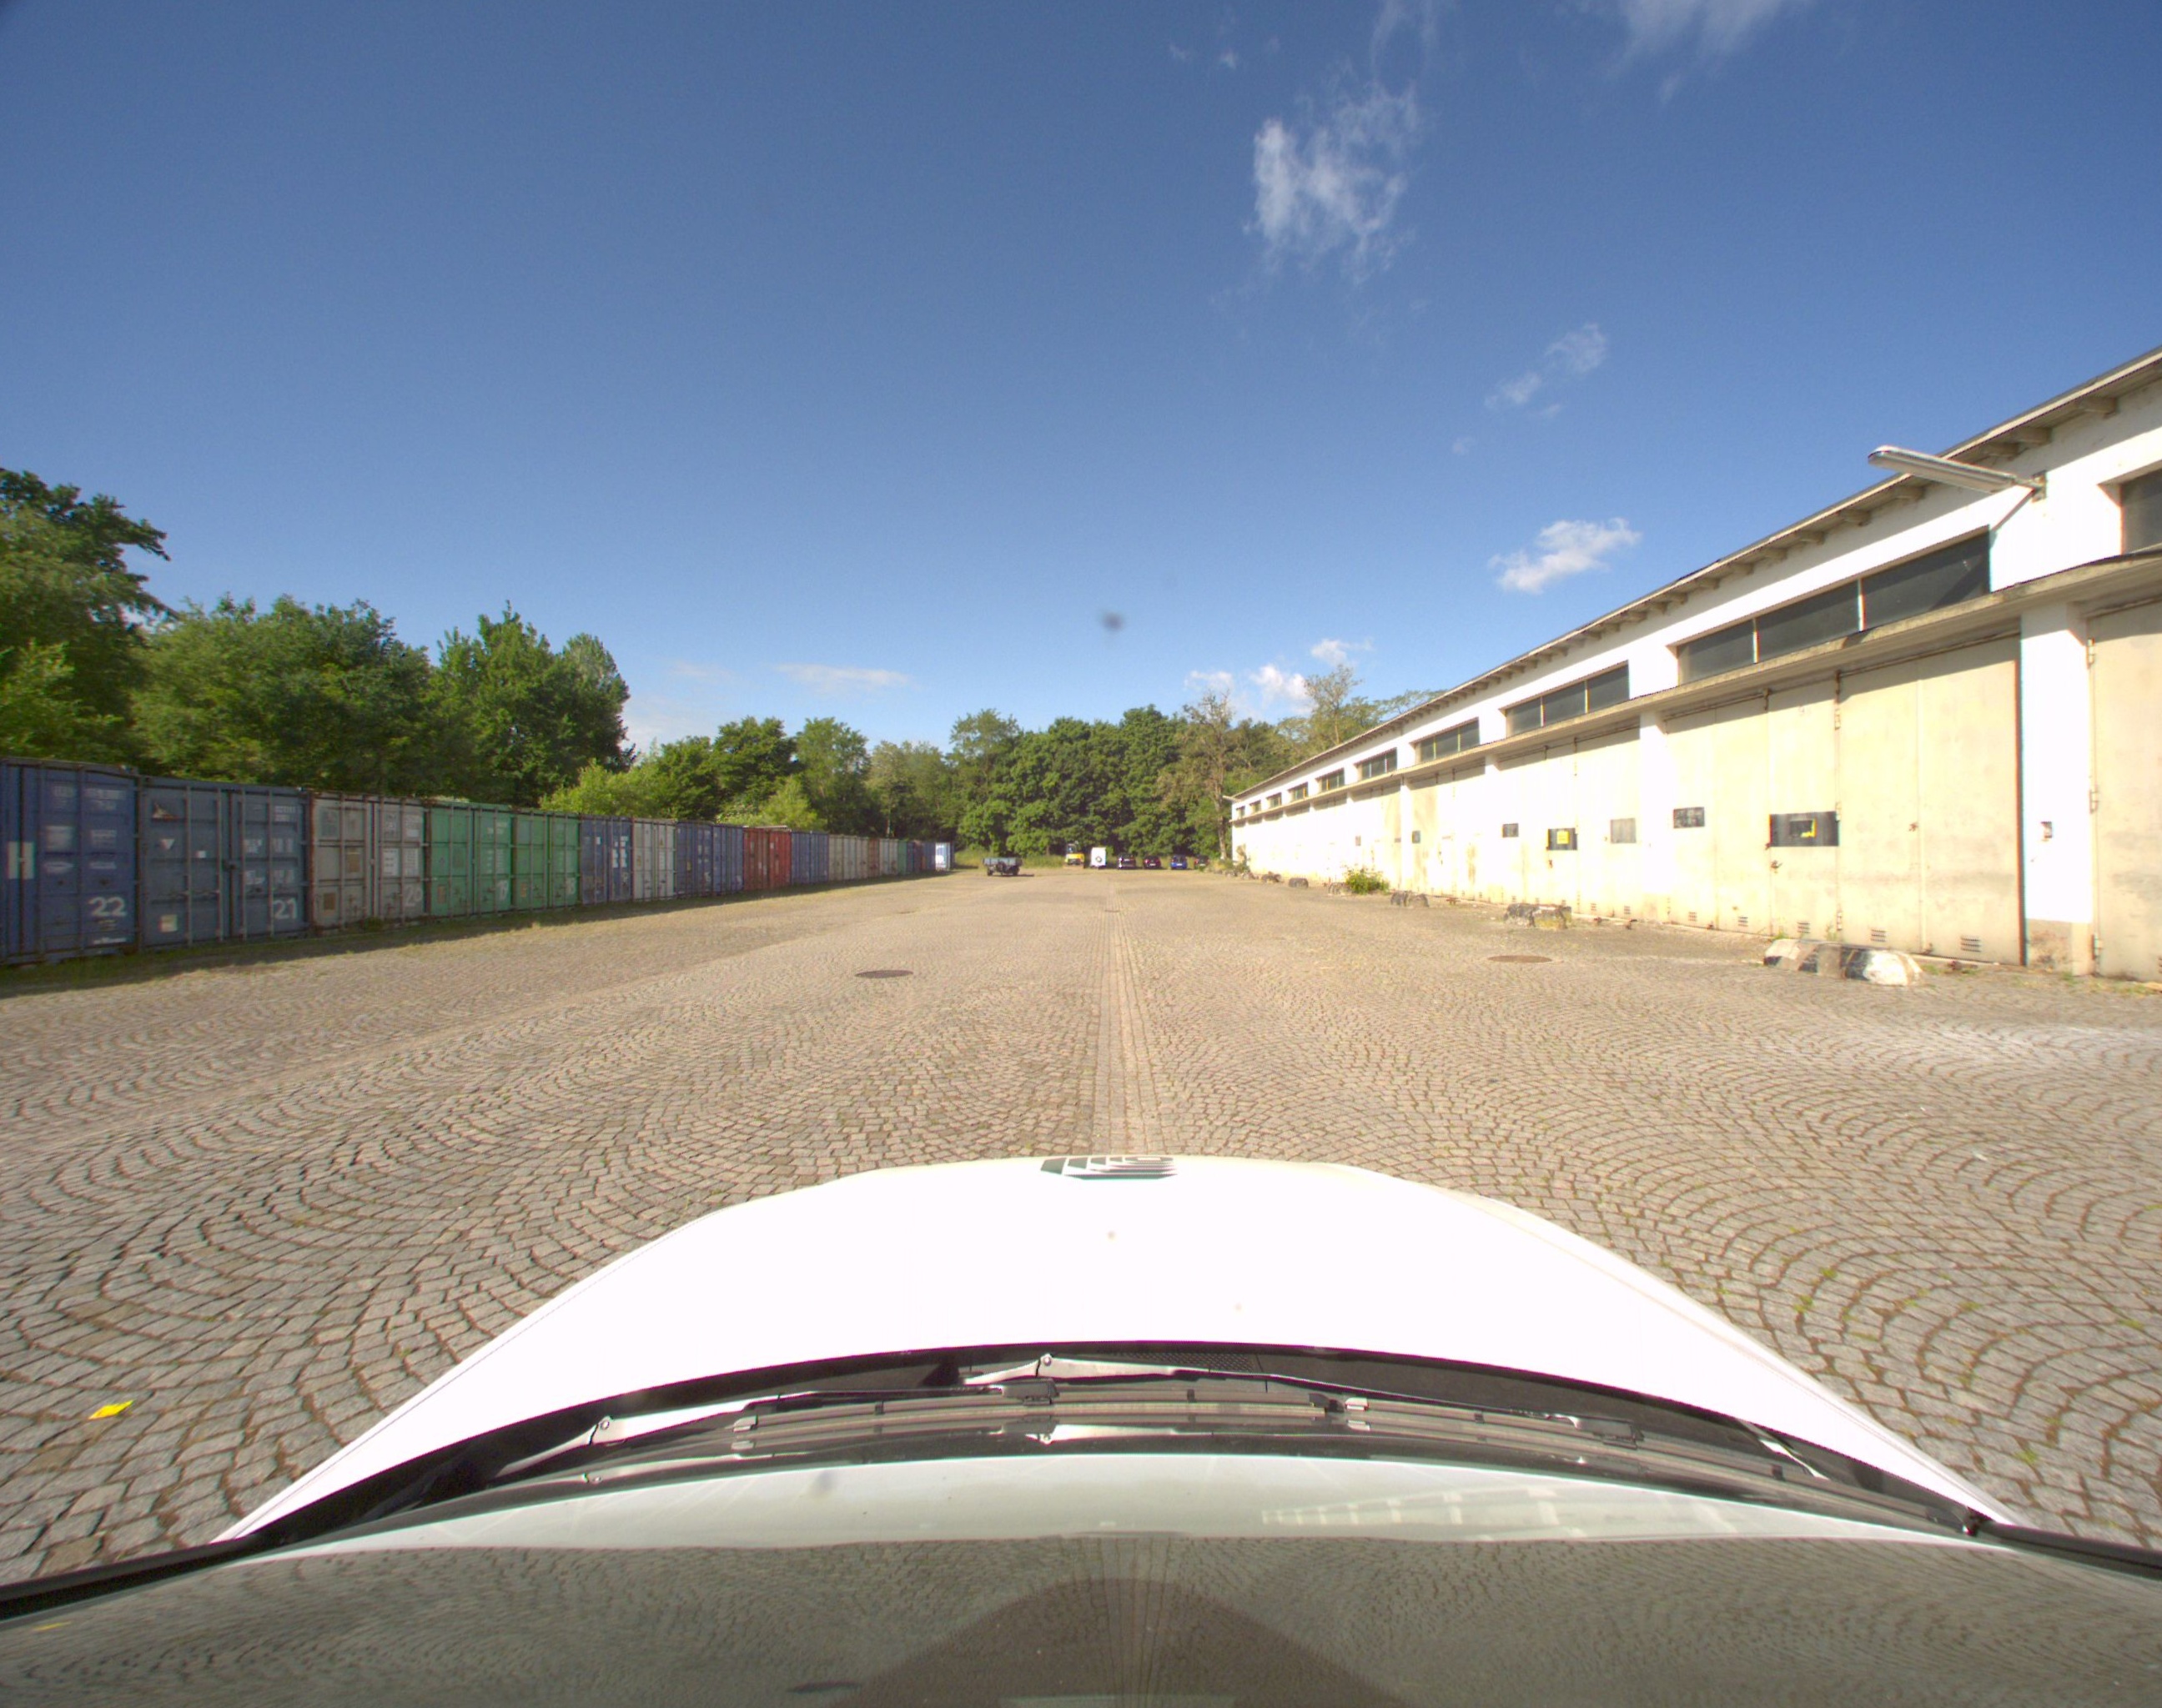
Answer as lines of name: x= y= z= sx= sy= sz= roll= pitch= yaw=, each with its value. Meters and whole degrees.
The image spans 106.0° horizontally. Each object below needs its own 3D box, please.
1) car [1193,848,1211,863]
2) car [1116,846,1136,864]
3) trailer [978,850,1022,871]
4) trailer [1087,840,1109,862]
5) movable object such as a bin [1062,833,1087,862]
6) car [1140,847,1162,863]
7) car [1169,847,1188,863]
car: x=12.095 y=0.109 z=81.502 sx=1.734 sy=1.436 sz=4.193 roll=1 pitch=1 yaw=9
car: x=4.356 y=0.064 z=79.949 sx=1.857 sy=1.589 sz=4.297 roll=0 pitch=1 yaw=1
trailer: x=-6.115 y=0.442 z=62.450 sx=2.696 sy=1.465 sz=6.247 roll=0 pitch=1 yaw=0
trailer: x=1.737 y=-0.333 z=82.384 sx=2.185 sy=2.094 sz=5.753 roll=0 pitch=1 yaw=2
movable object such as a bin: x=-0.619 y=-0.719 z=83.028 sx=2.297 sy=2.896 sz=5.755 roll=0 pitch=1 yaw=3
car: x=6.850 y=0.096 z=80.264 sx=1.857 sy=1.470 sz=4.297 roll=0 pitch=1 yaw=1
car: x=9.605 y=0.110 z=80.145 sx=1.735 sy=1.436 sz=4.191 roll=0 pitch=1 yaw=7
